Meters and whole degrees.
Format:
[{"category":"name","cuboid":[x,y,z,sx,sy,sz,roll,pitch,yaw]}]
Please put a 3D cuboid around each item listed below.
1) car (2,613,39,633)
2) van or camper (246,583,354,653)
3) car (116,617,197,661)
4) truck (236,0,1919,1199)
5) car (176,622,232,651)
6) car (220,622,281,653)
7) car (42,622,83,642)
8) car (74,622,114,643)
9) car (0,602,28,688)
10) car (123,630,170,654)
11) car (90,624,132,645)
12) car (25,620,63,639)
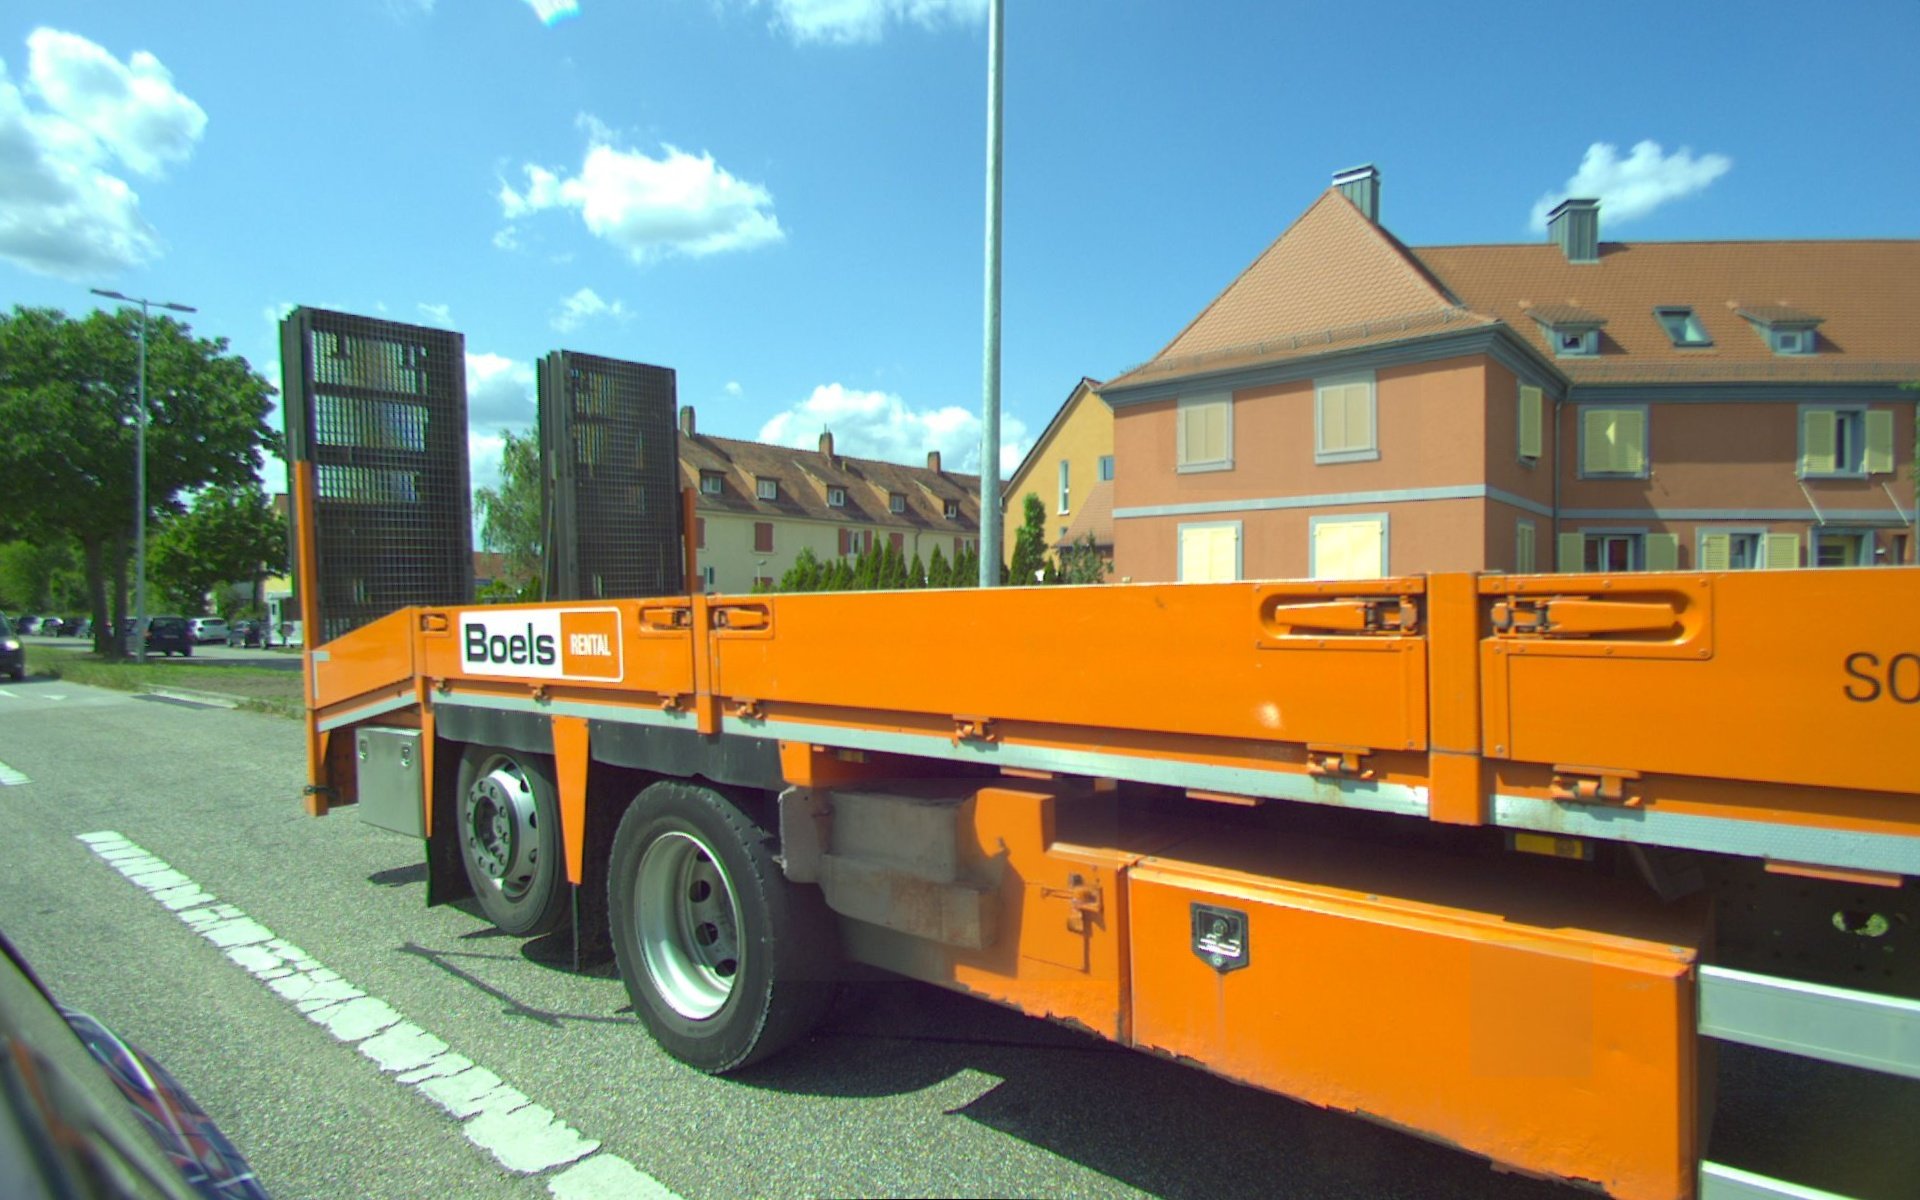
[{"category":"car","cuboid":[-83.502,2.002,89.905,4.307,1.624,1.645,0,2,37]},{"category":"van or camper","cuboid":[-32.384,0.889,49.549,7.312,3.135,2.237,-2,1,39]},{"category":"car","cuboid":[-32.461,1.529,40.849,3.997,1.702,1.776,-1,-1,40]},{"category":"truck","cuboid":[1.140,-0.488,3.244,11.062,3.439,3.039,0,2,41]},{"category":"car","cuboid":[-44.298,2.085,59.262,4.120,1.496,1.672,0,2,40]},{"category":"car","cuboid":[-37.793,1.963,53.890,3.989,1.496,1.620,0,2,40]},{"category":"car","cuboid":[-71.790,2.538,80.914,4.096,1.492,1.645,-1,1,37]},{"category":"car","cuboid":[-64.992,2.395,75.958,3.472,1.405,1.548,0,2,38]},{"category":"car","cuboid":[-23.696,1.042,23.958,4.537,1.918,1.746,0,2,39]},{"category":"car","cuboid":[-53.585,2.737,66.657,4.527,1.380,1.496,-1,1,40]},{"category":"car","cuboid":[-61.573,2.506,73.372,4.350,1.405,1.389,-1,1,38]},{"category":"car","cuboid":[-77.571,2.470,85.666,3.840,1.462,1.645,0,2,37]}]
